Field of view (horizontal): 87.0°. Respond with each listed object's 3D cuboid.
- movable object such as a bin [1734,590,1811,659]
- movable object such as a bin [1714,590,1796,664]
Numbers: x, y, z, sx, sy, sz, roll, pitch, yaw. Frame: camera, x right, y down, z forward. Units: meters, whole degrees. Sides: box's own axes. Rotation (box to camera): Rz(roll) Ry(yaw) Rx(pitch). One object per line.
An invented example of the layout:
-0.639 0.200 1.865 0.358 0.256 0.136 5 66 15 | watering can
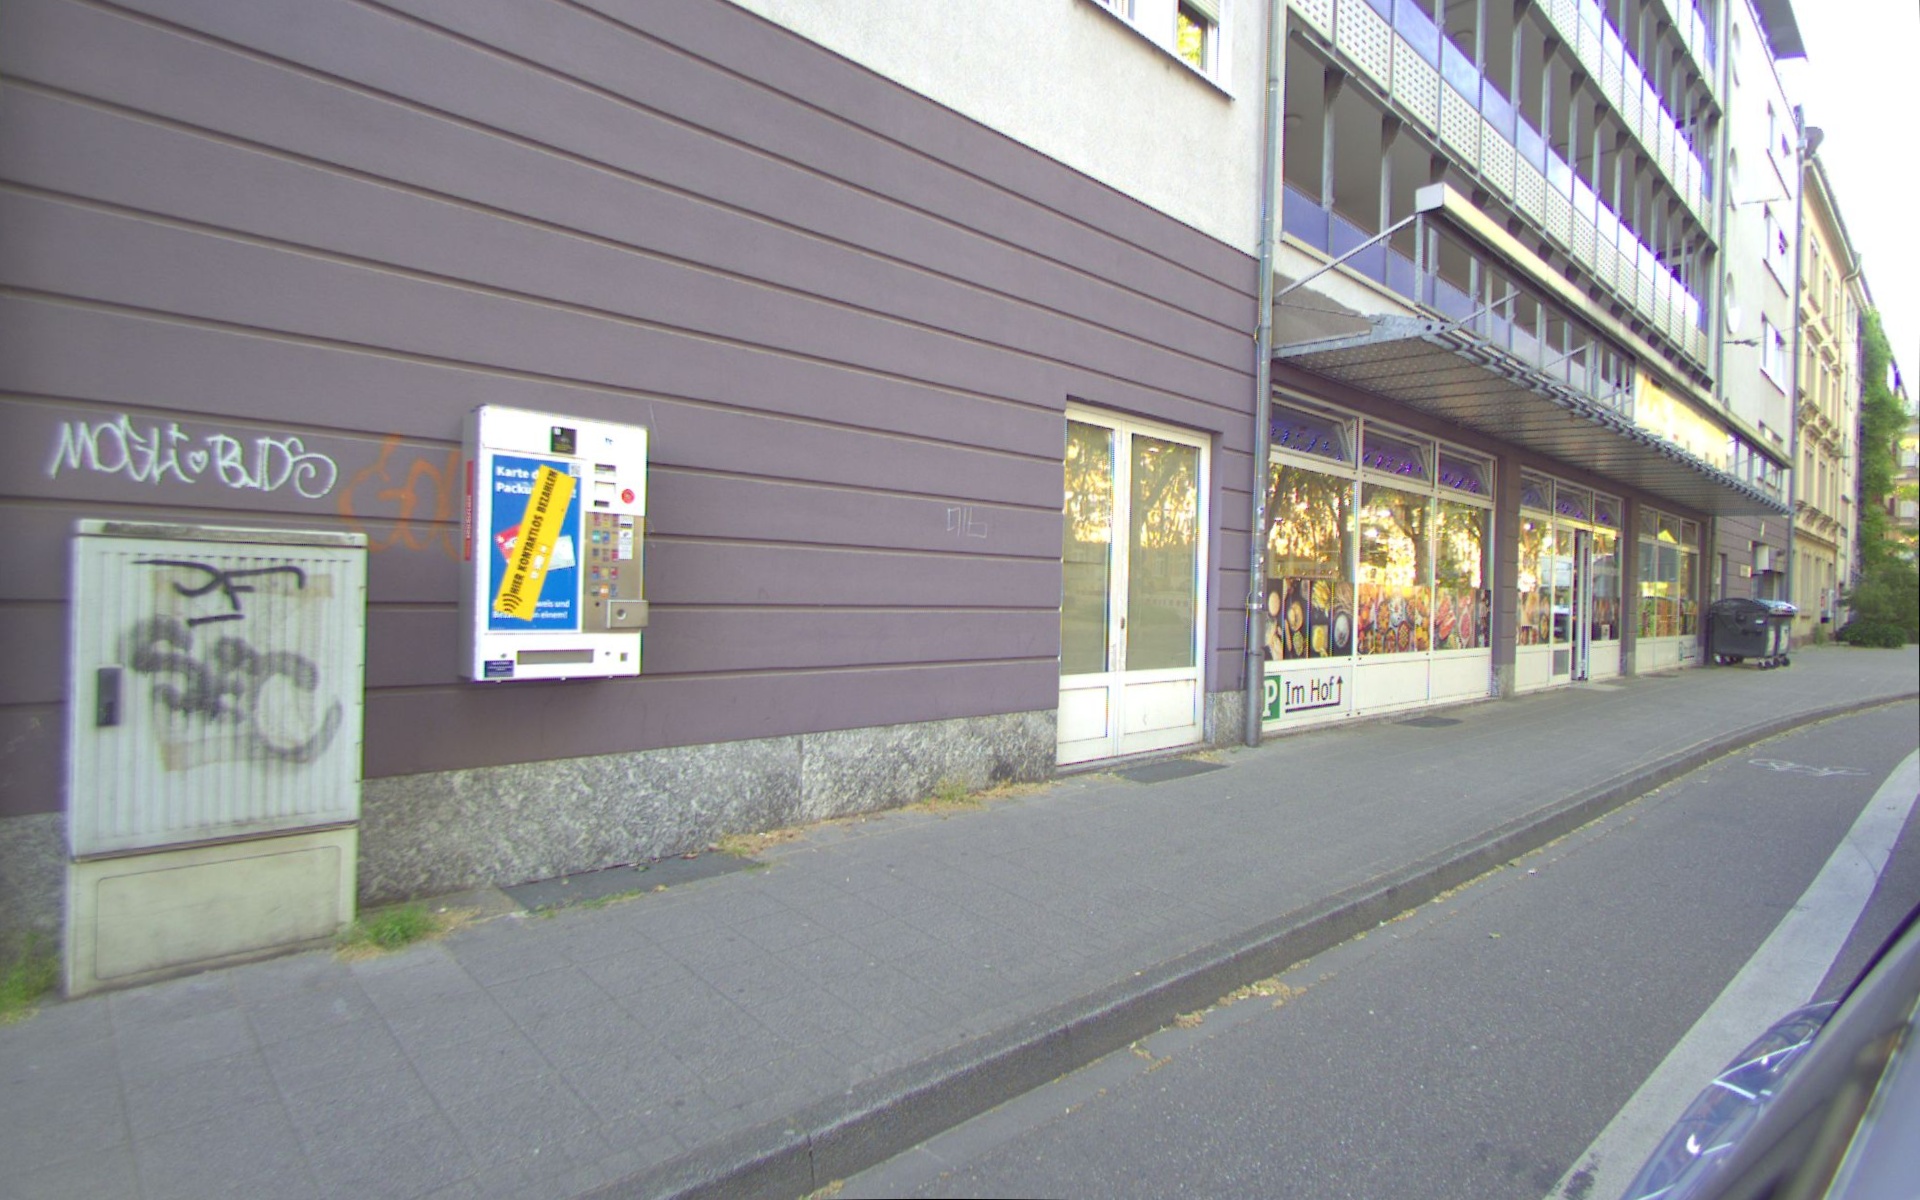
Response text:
17.785 0.515 22.155 0.923 1.444 1.158 1 1 -40 | movable object such as a bin
16.323 0.540 20.784 0.923 1.444 1.158 1 1 -40 | movable object such as a bin
